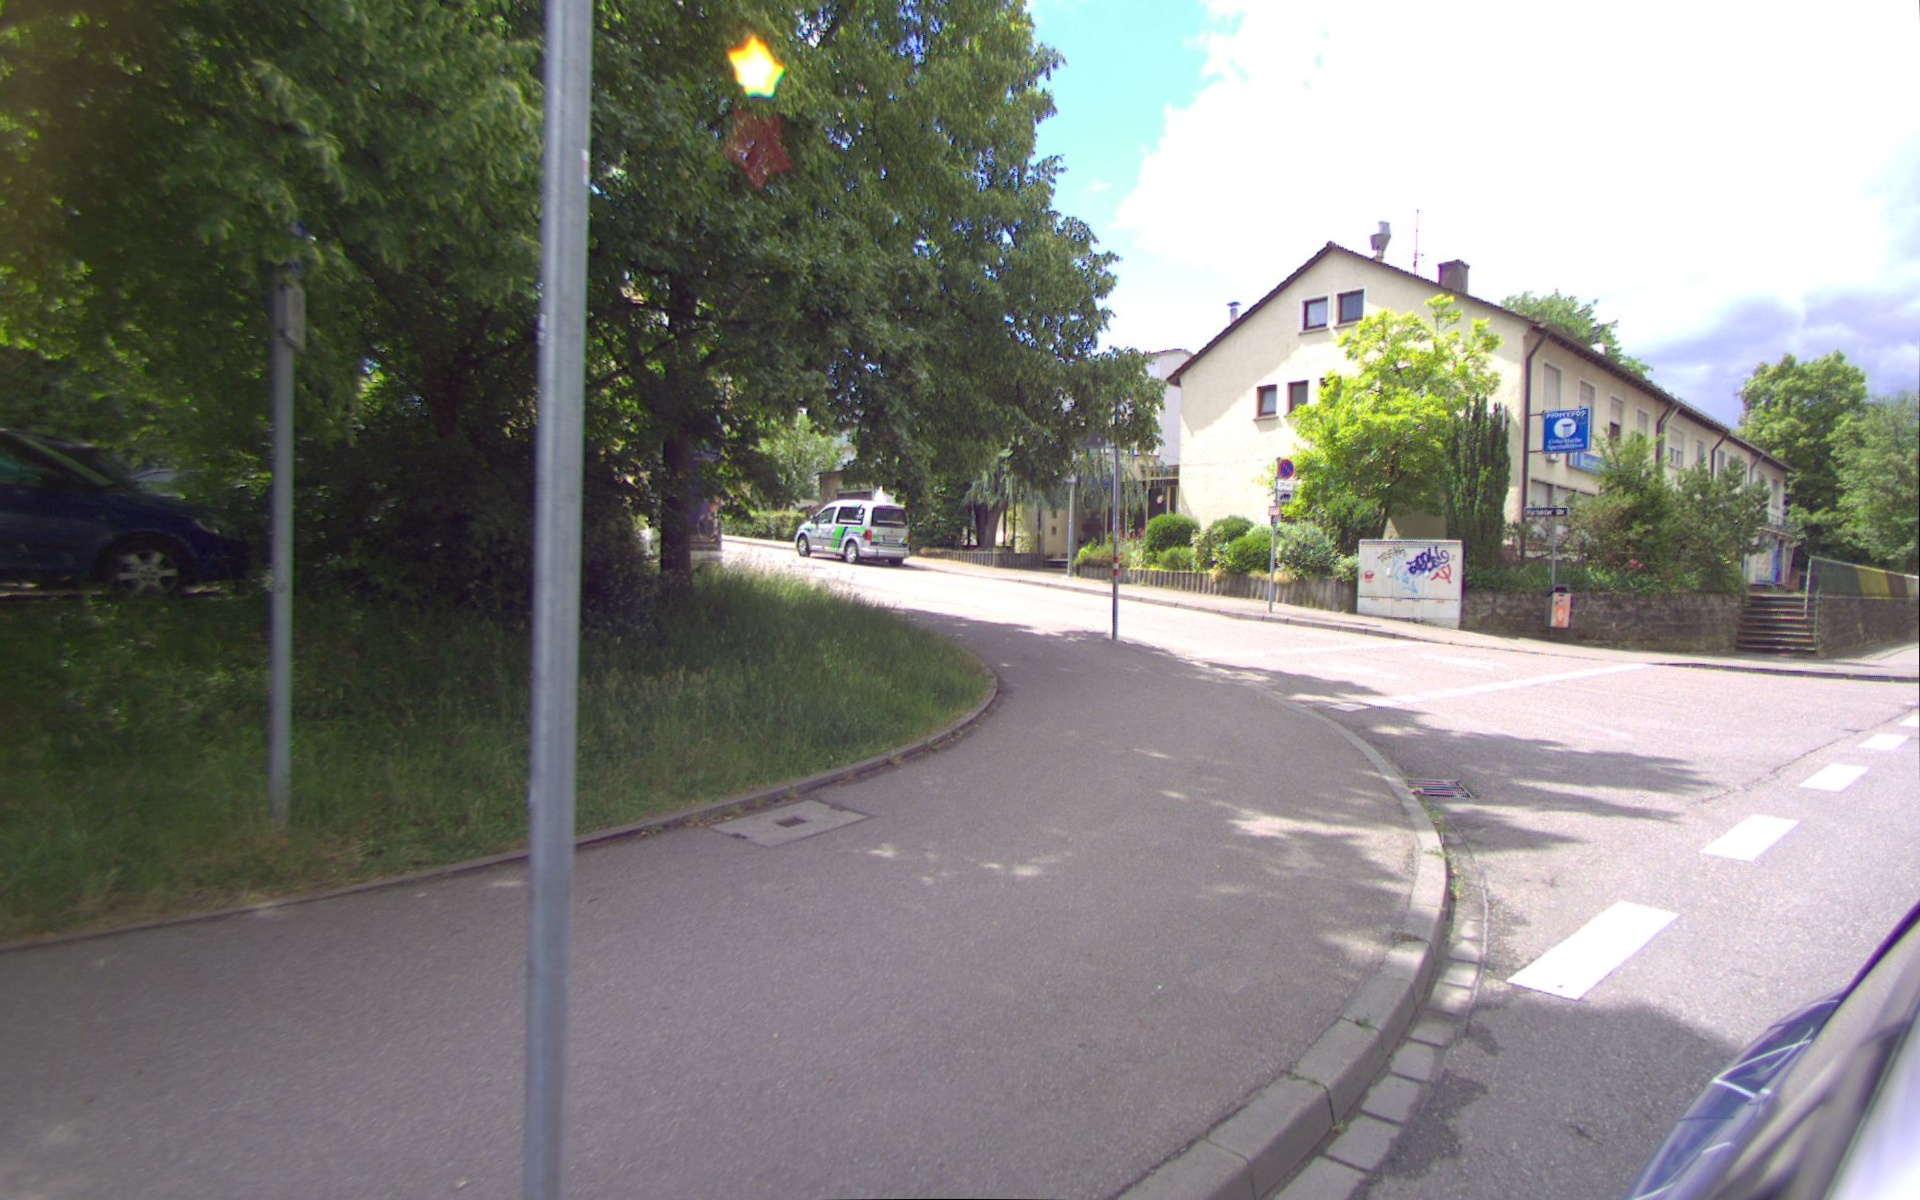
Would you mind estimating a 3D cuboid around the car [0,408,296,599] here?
[{"bbox_3d":[-8.215,-0.819,8.862,3.751,1.530,1.826,-2,4,-44],"label":"car"}]

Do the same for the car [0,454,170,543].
[{"bbox_3d":[-17.297,-1.911,18.894,3.914,1.486,1.640,0,4,-42],"label":"car"}]

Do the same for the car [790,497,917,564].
[{"bbox_3d":[-3.215,-2.083,29.838,1.661,1.737,3.996,0,5,-41],"label":"car"}]

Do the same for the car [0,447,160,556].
[{"bbox_3d":[-13.439,-1.357,13.813,3.859,1.436,1.620,-3,6,-41],"label":"car"}]

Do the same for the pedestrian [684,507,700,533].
[{"bbox_3d":[-13.703,-4.088,51.711,0.594,1.242,0.533,0,5,-41],"label":"pedestrian"}]

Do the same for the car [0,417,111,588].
[{"bbox_3d":[-10.683,-0.992,9.676,3.842,1.654,1.681,-2,7,-43],"label":"car"}]
